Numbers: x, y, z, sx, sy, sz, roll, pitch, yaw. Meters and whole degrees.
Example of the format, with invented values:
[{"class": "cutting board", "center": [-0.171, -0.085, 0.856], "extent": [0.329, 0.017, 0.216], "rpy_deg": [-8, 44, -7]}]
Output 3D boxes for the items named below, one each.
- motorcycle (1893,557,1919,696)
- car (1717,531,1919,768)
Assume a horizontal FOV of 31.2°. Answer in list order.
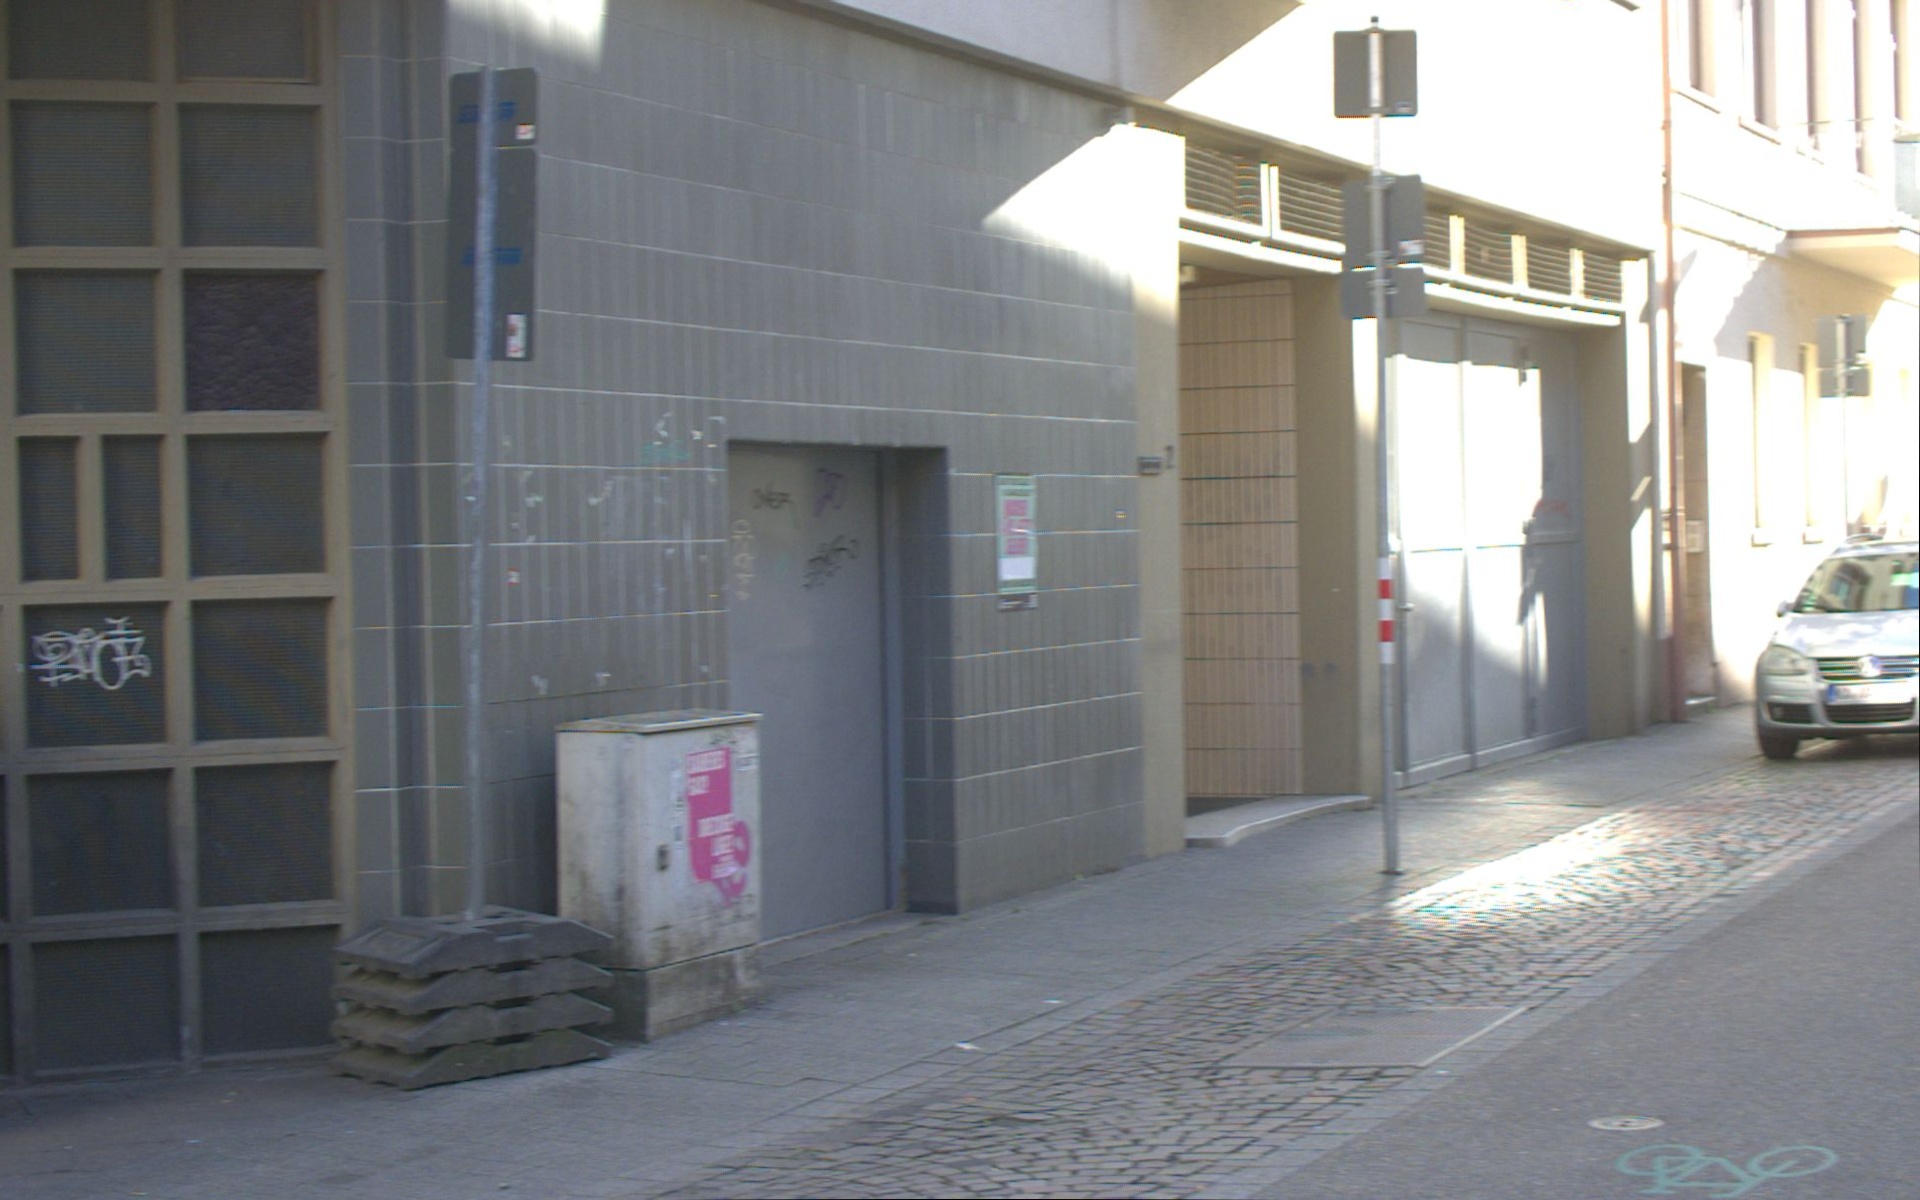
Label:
[{"class": "motorcycle", "center": [9.452, 0.211, 30.528], "extent": [2.211, 1.241, 0.573], "rpy_deg": [-2, 1, 45]}, {"class": "car", "center": [6.566, 0.265, 23.794], "extent": [1.767, 1.465, 3.808], "rpy_deg": [-3, 1, 25]}]
